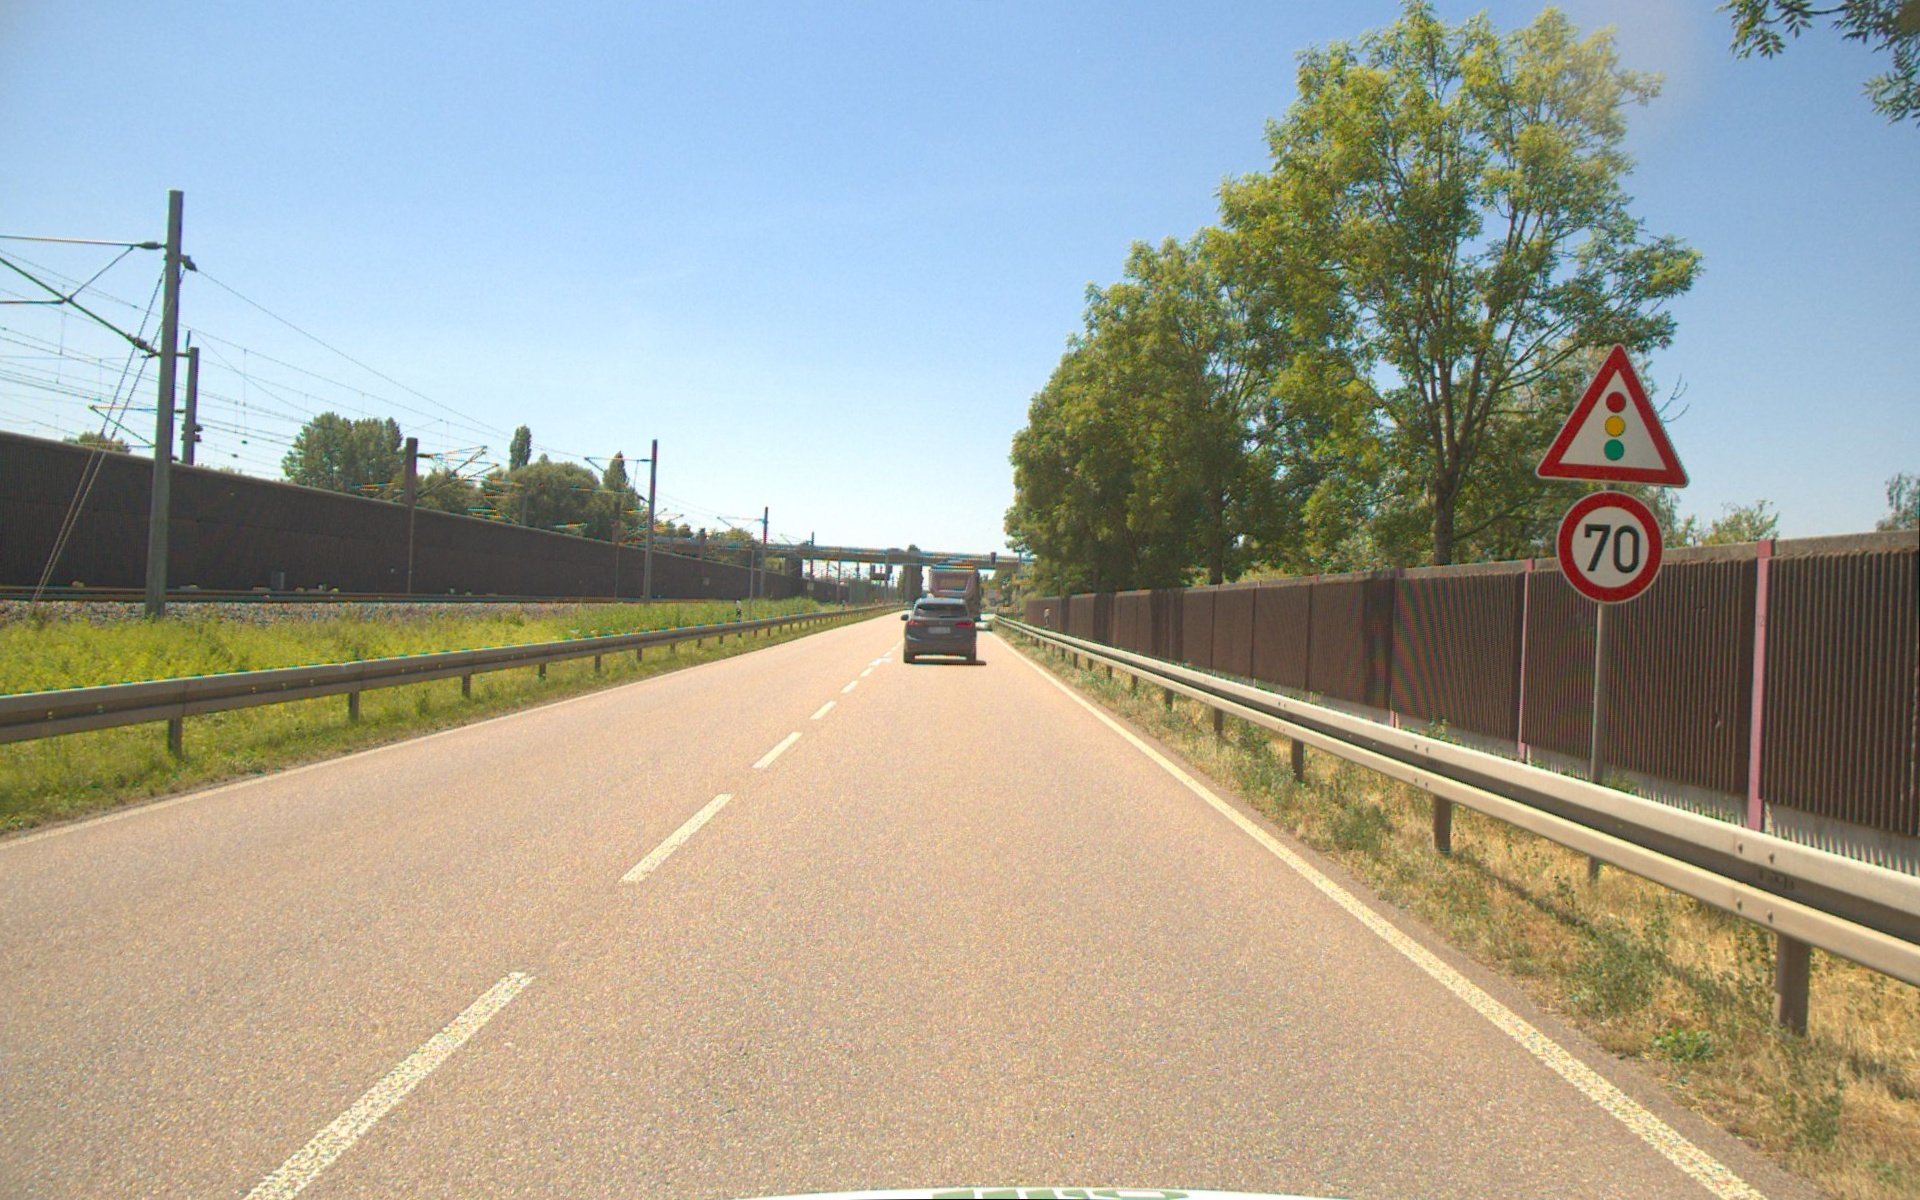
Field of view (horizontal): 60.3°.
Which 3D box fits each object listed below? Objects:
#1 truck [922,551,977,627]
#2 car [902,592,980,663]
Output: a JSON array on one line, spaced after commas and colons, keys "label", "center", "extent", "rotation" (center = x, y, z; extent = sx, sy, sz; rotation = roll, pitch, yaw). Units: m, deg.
[{"label": "truck", "center": [-0.567, -0.572, 92.629], "extent": [2.775, 3.888, 11.883], "rotation": [2, 0, 0]}, {"label": "car", "center": [-0.444, 0.661, 41.344], "extent": [1.807, 1.651, 4.226], "rotation": [2, 0, 0]}]
